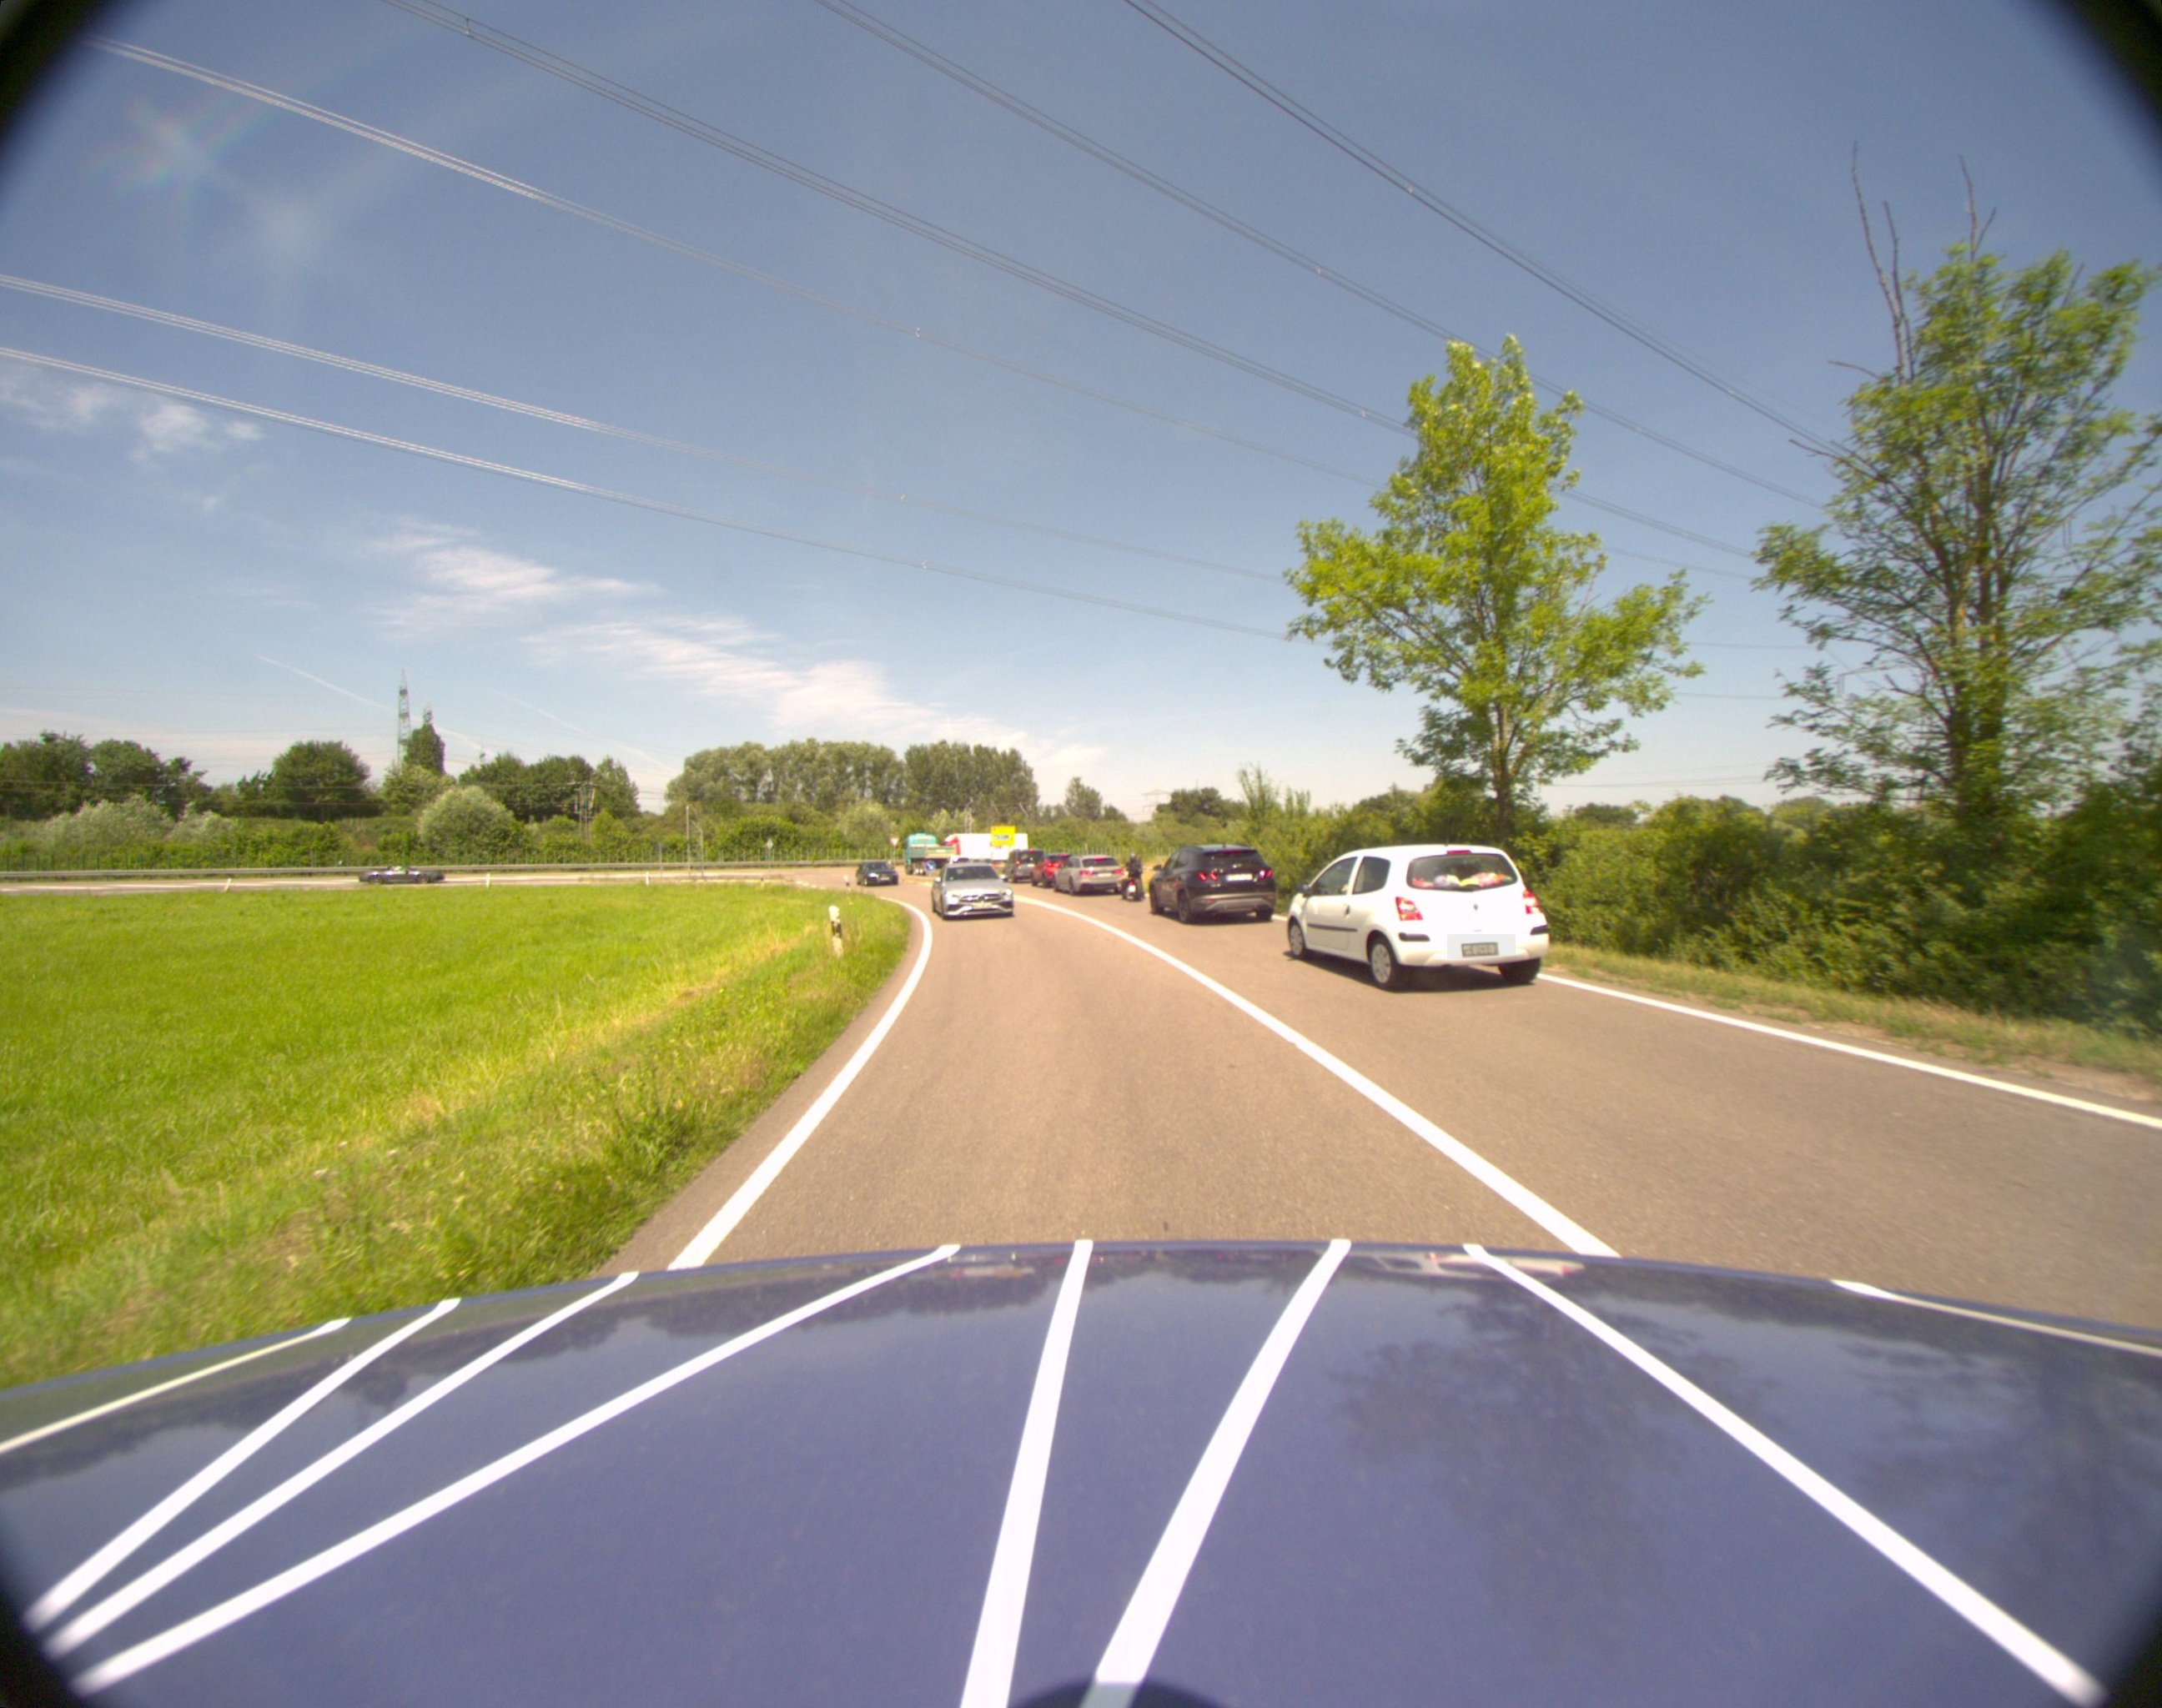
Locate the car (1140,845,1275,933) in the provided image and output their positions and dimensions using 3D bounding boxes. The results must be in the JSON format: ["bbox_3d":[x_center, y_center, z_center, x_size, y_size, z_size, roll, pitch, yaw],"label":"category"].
[{"bbox_3d":[2.639,0.671,16.889,1.707,1.628,4.246,-3,1,-8],"label":"car"}]

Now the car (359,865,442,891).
[{"bbox_3d":[-47.721,1.650,53.408,4.006,1.714,1.720,0,1,-28],"label":"car"}]

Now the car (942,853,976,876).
[{"bbox_3d":[-9.262,0.752,57.483,1.779,1.611,4.324,-3,1,-18],"label":"car"}]

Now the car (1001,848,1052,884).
[{"bbox_3d":[-3.029,0.636,41.519,1.933,1.821,4.433,-1,-1,-15],"label":"car"}]

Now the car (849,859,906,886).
[{"bbox_3d":[-11.757,1.020,43.757,1.829,1.431,4.137,-2,1,-35],"label":"car"}]

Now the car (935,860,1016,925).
[{"bbox_3d":[-2.992,0.961,20.930,1.826,1.478,4.143,-1,1,-13],"label":"car"}]

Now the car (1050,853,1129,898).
[{"bbox_3d":[0.214,0.740,28.874,1.848,1.452,4.802,-2,1,-13],"label":"car"}]

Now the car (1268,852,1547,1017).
[{"bbox_3d":[3.573,0.759,9.041,1.541,1.434,3.605,-3,1,-3],"label":"car"}]

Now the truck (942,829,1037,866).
[{"bbox_3d":[-9.561,-0.730,80.269,9.569,3.559,2.719,-3,2,-31],"label":"truck"}]

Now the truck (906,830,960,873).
[{"bbox_3d":[-12.592,-0.209,64.034,2.614,3.451,7.593,-1,0,-26],"label":"truck"}]

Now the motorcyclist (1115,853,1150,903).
[{"bbox_3d":[1.609,0.738,23.993,0.783,1.486,1.129,-1,1,-14],"label":"motorcyclist"}]

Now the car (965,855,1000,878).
[{"bbox_3d":[-6.702,0.822,51.557,1.638,1.451,4.002,-1,0,-18],"label":"car"}]

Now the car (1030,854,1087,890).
[{"bbox_3d":[-1.108,0.768,34.962,1.805,1.507,4.386,-1,1,-13],"label":"car"}]

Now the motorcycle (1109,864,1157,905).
[{"bbox_3d":[1.621,0.934,23.996,0.784,1.117,2.426,-3,1,-13],"label":"motorcycle"}]
